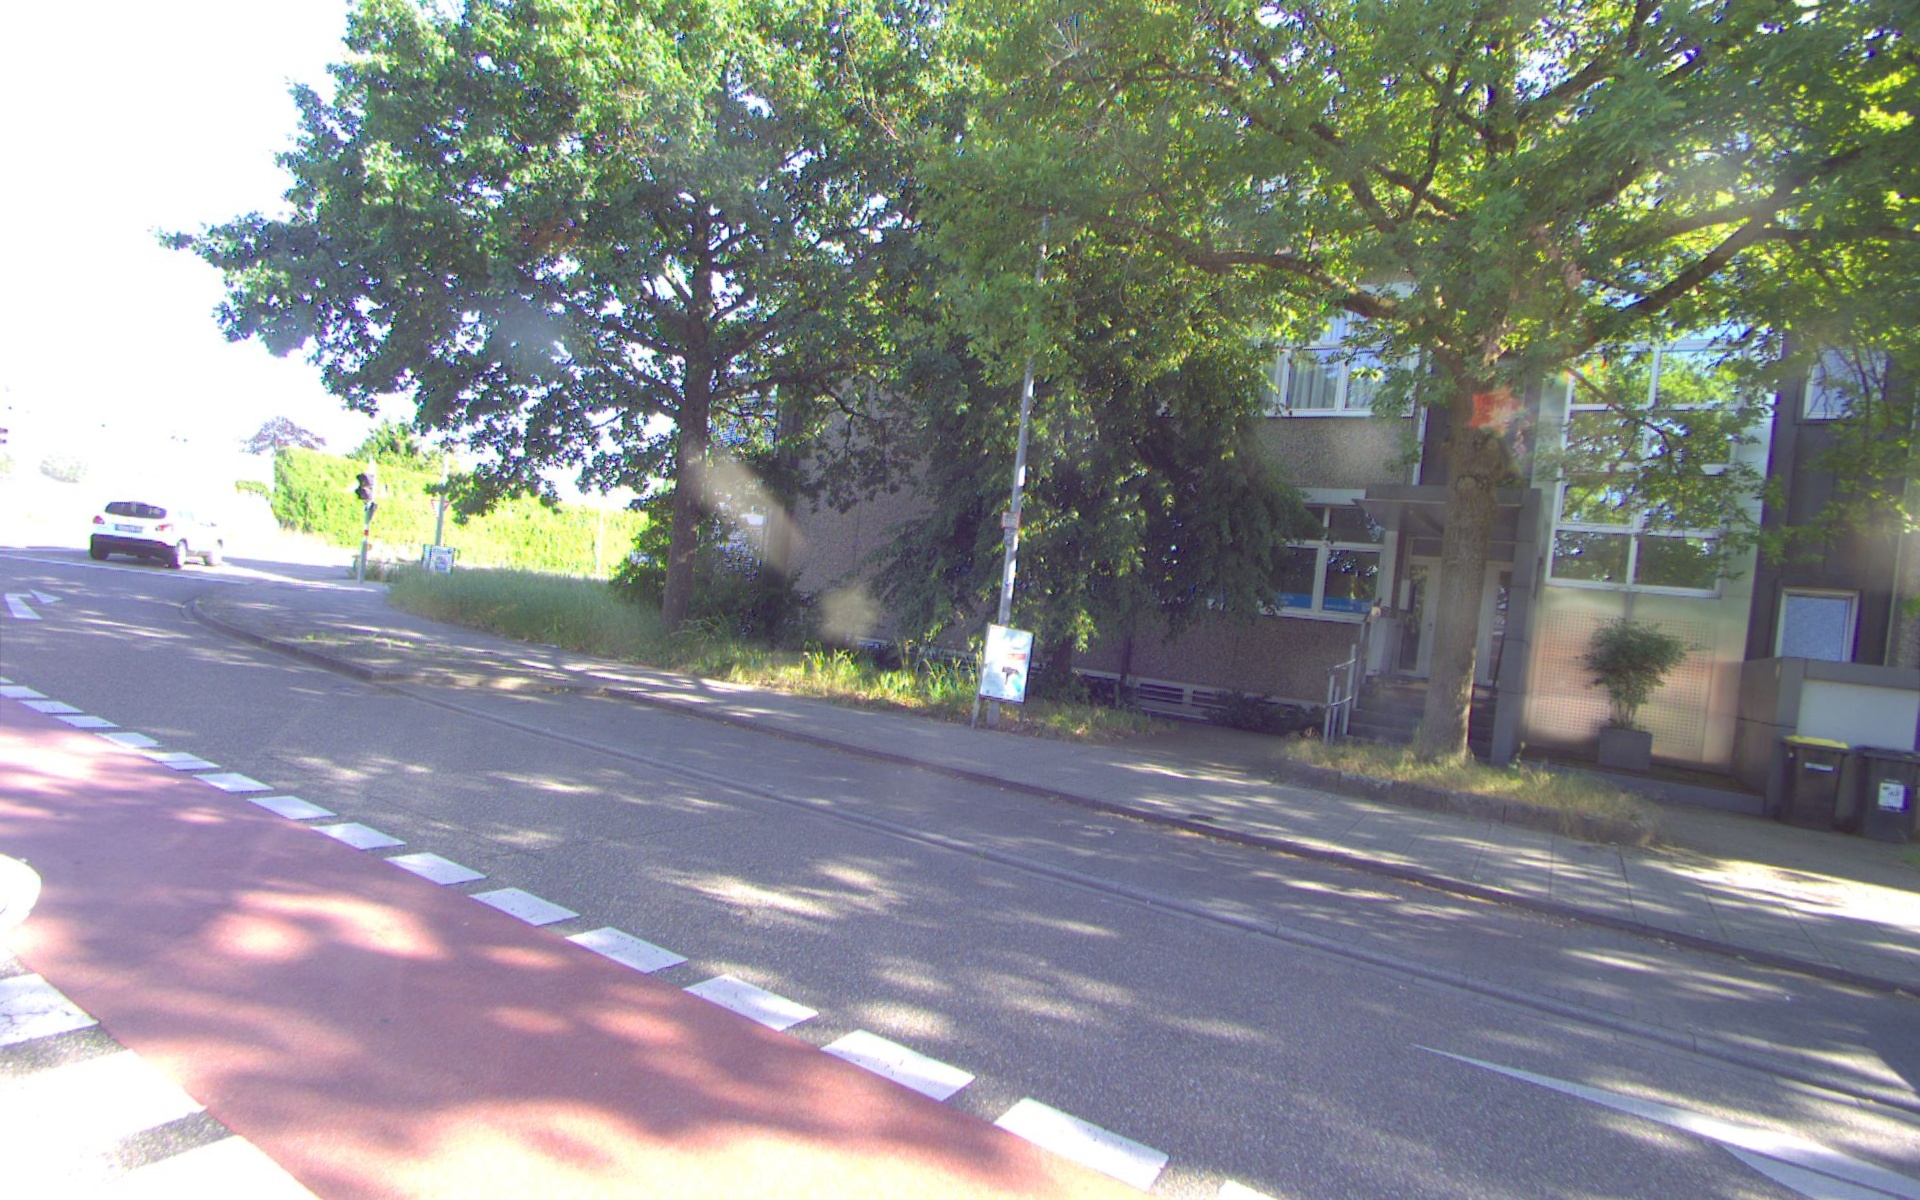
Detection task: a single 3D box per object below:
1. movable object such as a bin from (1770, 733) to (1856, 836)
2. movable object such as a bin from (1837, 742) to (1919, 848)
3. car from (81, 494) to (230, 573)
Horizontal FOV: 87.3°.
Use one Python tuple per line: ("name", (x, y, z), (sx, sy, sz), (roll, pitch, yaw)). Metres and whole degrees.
("movable object such as a bin", (10.175, 2.184, 12.018), (0.575, 1.070, 0.625), (7, 0, 30))
("movable object such as a bin", (10.763, 2.252, 11.725), (0.605, 1.075, 0.634), (6, 0, 30))
("car", (-20.466, -1.684, 25.796), (1.699, 1.628, 4.046), (7, 1, -21))
